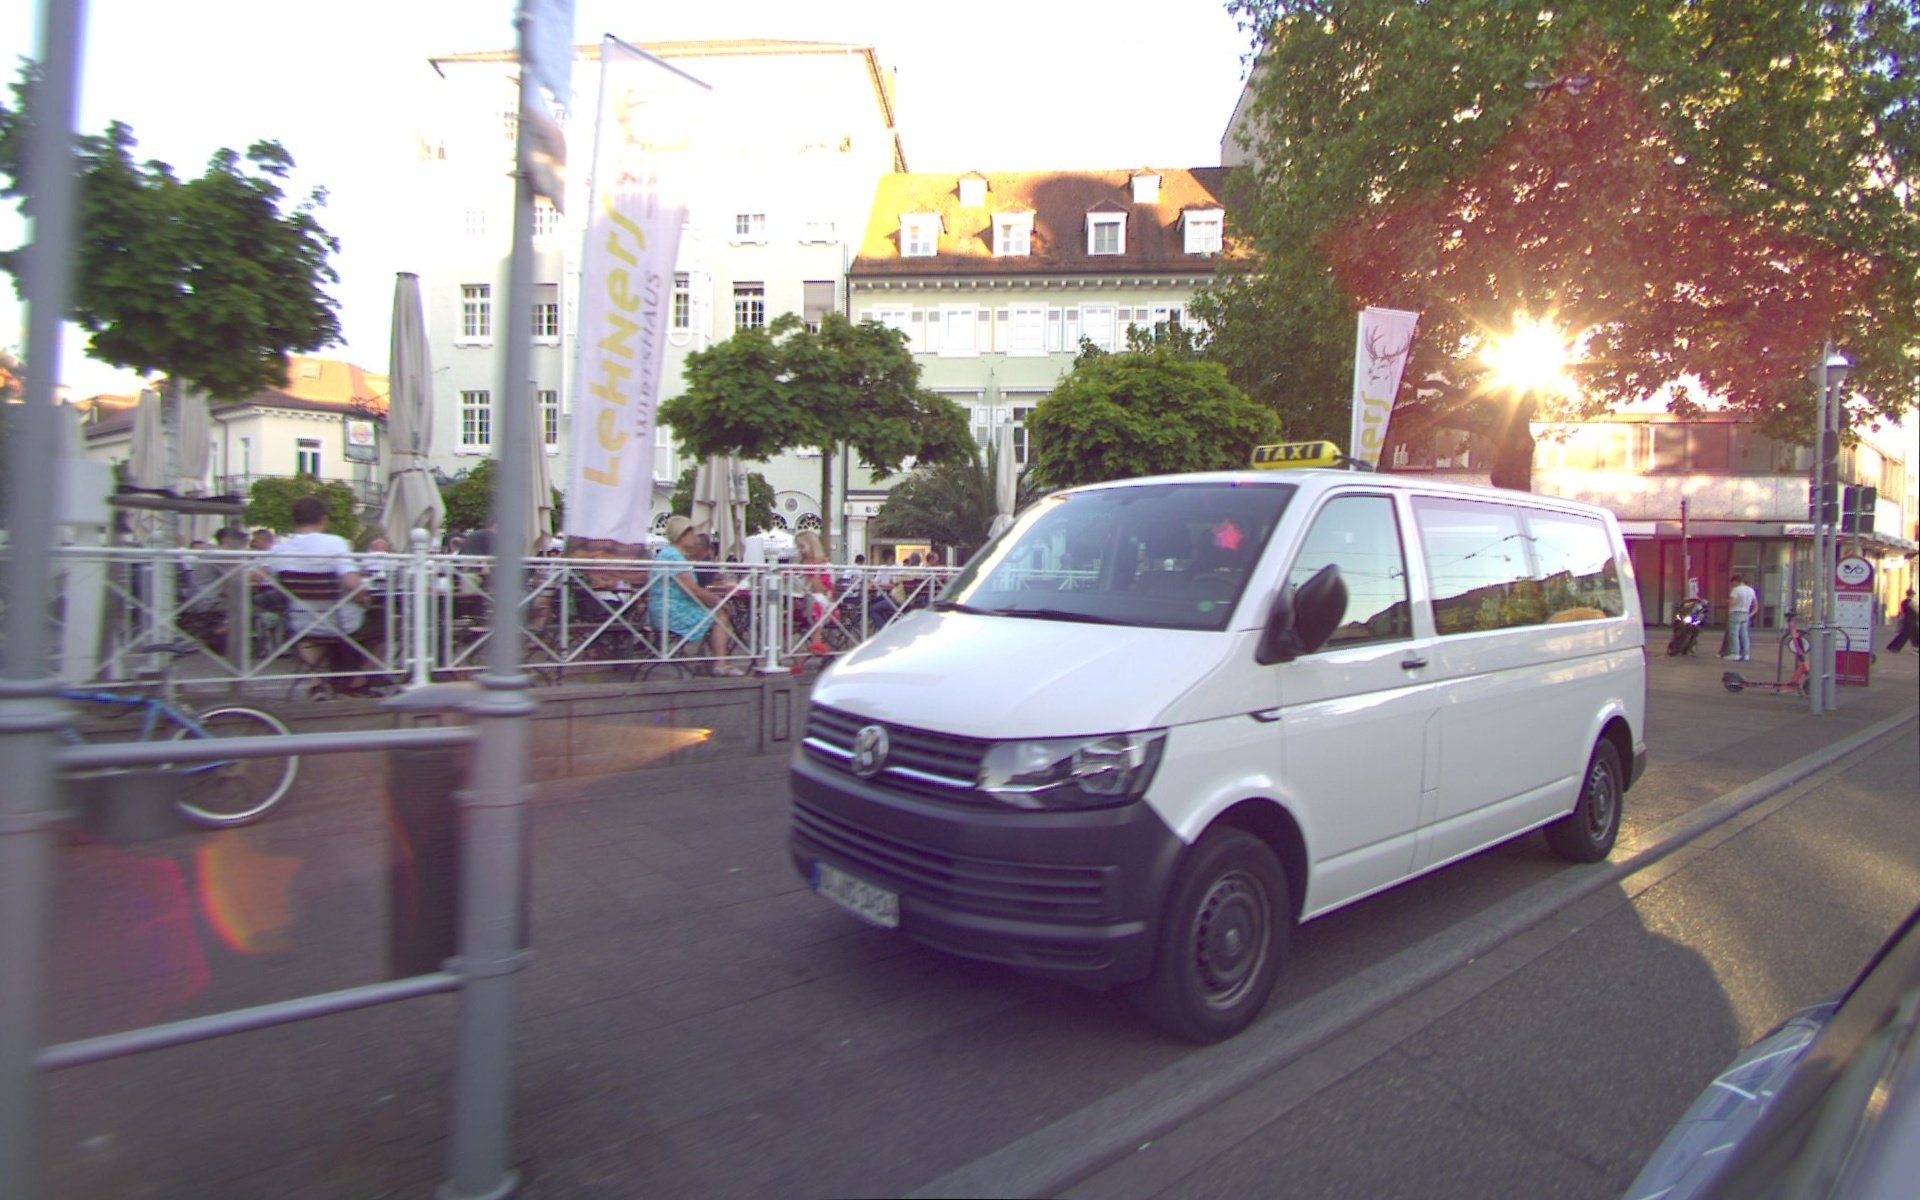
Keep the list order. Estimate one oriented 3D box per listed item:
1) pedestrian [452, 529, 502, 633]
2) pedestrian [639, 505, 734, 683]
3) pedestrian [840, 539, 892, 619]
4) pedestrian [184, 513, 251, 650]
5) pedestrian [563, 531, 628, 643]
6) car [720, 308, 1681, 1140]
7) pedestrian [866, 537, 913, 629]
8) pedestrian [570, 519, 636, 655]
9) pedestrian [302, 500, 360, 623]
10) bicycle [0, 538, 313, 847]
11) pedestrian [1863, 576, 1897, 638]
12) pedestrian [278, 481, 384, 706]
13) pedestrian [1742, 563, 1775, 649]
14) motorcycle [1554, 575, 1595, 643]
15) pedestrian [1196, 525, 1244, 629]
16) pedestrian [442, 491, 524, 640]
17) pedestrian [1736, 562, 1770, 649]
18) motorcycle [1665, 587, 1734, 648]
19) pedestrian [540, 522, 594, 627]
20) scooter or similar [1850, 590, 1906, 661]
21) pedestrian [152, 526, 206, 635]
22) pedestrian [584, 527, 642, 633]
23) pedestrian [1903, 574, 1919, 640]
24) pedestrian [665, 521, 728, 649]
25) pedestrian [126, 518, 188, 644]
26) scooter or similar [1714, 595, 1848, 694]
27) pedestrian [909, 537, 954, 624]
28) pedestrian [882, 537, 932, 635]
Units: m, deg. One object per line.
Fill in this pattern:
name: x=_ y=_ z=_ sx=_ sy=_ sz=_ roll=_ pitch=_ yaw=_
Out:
pedestrian: x=-6.455 y=-0.249 z=13.509 sx=0.482 sy=1.349 sz=0.531 roll=0 pitch=1 yaw=-40
pedestrian: x=-2.116 y=-0.053 z=7.838 sx=0.529 sy=1.312 sz=0.485 roll=1 pitch=1 yaw=35
pedestrian: x=-1.649 y=-0.368 z=17.715 sx=0.653 sy=1.349 sz=0.628 roll=0 pitch=1 yaw=-40
pedestrian: x=-7.624 y=-0.190 z=10.388 sx=0.523 sy=1.349 sz=0.490 roll=0 pitch=1 yaw=-40
pedestrian: x=-4.289 y=-0.153 z=11.929 sx=0.486 sy=1.282 sz=0.527 roll=1 pitch=1 yaw=26
car: x=1.605 y=0.254 z=4.915 sx=5.124 sy=2.092 sz=1.856 roll=-1 pitch=2 yaw=-40
pedestrian: x=-1.064 y=-0.258 z=15.250 sx=0.523 sy=1.349 sz=0.490 roll=0 pitch=1 yaw=-40
pedestrian: x=-3.669 y=-0.139 z=10.408 sx=0.482 sy=1.349 sz=0.531 roll=0 pitch=1 yaw=-40
pedestrian: x=-9.031 y=-0.542 z=14.528 sx=0.530 sy=1.718 sz=0.581 roll=1 pitch=1 yaw=43
bicycle: x=-4.048 y=0.414 z=5.123 sx=1.268 sy=1.408 sz=0.344 roll=0 pitch=1 yaw=-41
pedestrian: x=25.050 y=0.181 z=27.549 sx=0.635 sy=1.645 sz=0.512 roll=1 pitch=2 yaw=39
pedestrian: x=-3.891 y=-0.047 z=6.255 sx=0.482 sy=1.312 sz=0.531 roll=0 pitch=1 yaw=-40
pedestrian: x=16.678 y=0.113 z=21.142 sx=0.428 sy=1.757 sz=0.405 roll=3 pitch=2 yaw=31
motorcycle: x=13.738 y=0.216 z=22.640 sx=0.700 sy=1.423 sz=1.946 roll=2 pitch=0 yaw=31
pedestrian: x=4.036 y=-0.357 z=15.699 sx=0.523 sy=1.578 sz=0.490 roll=0 pitch=1 yaw=-40
pedestrian: x=-5.687 y=-0.406 z=12.071 sx=0.588 sy=1.713 sz=0.721 roll=1 pitch=1 yaw=43
pedestrian: x=16.266 y=0.107 z=20.770 sx=0.403 sy=1.757 sz=0.430 roll=0 pitch=2 yaw=-44
motorcycle: x=15.506 y=0.350 z=21.199 sx=1.933 sy=1.200 sz=0.705 roll=0 pitch=2 yaw=-40
pedestrian: x=-5.183 y=-0.332 z=13.339 sx=0.523 sy=1.349 sz=0.490 roll=0 pitch=1 yaw=-40
scooter or similar: x=17.438 y=0.458 z=19.210 sx=1.627 sy=1.247 sz=0.534 roll=-1 pitch=4 yaw=-41
pedestrian: x=-9.971 y=-0.250 z=12.921 sx=0.523 sy=1.349 sz=0.490 roll=0 pitch=1 yaw=-40
pedestrian: x=-4.713 y=-0.270 z=13.736 sx=0.588 sy=1.394 sz=0.524 roll=1 pitch=1 yaw=43
pedestrian: x=24.033 y=0.176 z=25.284 sx=0.635 sy=1.645 sz=0.512 roll=1 pitch=2 yaw=39
pedestrian: x=-2.892 y=-0.166 z=11.108 sx=0.482 sy=1.349 sz=0.531 roll=0 pitch=1 yaw=-40
pedestrian: x=-8.866 y=-0.208 z=11.169 sx=0.523 sy=1.349 sz=0.490 roll=0 pitch=1 yaw=-40
scooter or similar: x=11.497 y=0.587 z=14.203 sx=0.526 sy=1.247 sz=1.344 roll=-1 pitch=4 yaw=-42
pedestrian: x=-0.455 y=-0.312 z=16.195 sx=0.523 sy=1.349 sz=0.490 roll=0 pitch=1 yaw=-40
pedestrian: x=-0.753 y=-0.198 z=14.332 sx=0.482 sy=1.349 sz=0.531 roll=0 pitch=1 yaw=-40
